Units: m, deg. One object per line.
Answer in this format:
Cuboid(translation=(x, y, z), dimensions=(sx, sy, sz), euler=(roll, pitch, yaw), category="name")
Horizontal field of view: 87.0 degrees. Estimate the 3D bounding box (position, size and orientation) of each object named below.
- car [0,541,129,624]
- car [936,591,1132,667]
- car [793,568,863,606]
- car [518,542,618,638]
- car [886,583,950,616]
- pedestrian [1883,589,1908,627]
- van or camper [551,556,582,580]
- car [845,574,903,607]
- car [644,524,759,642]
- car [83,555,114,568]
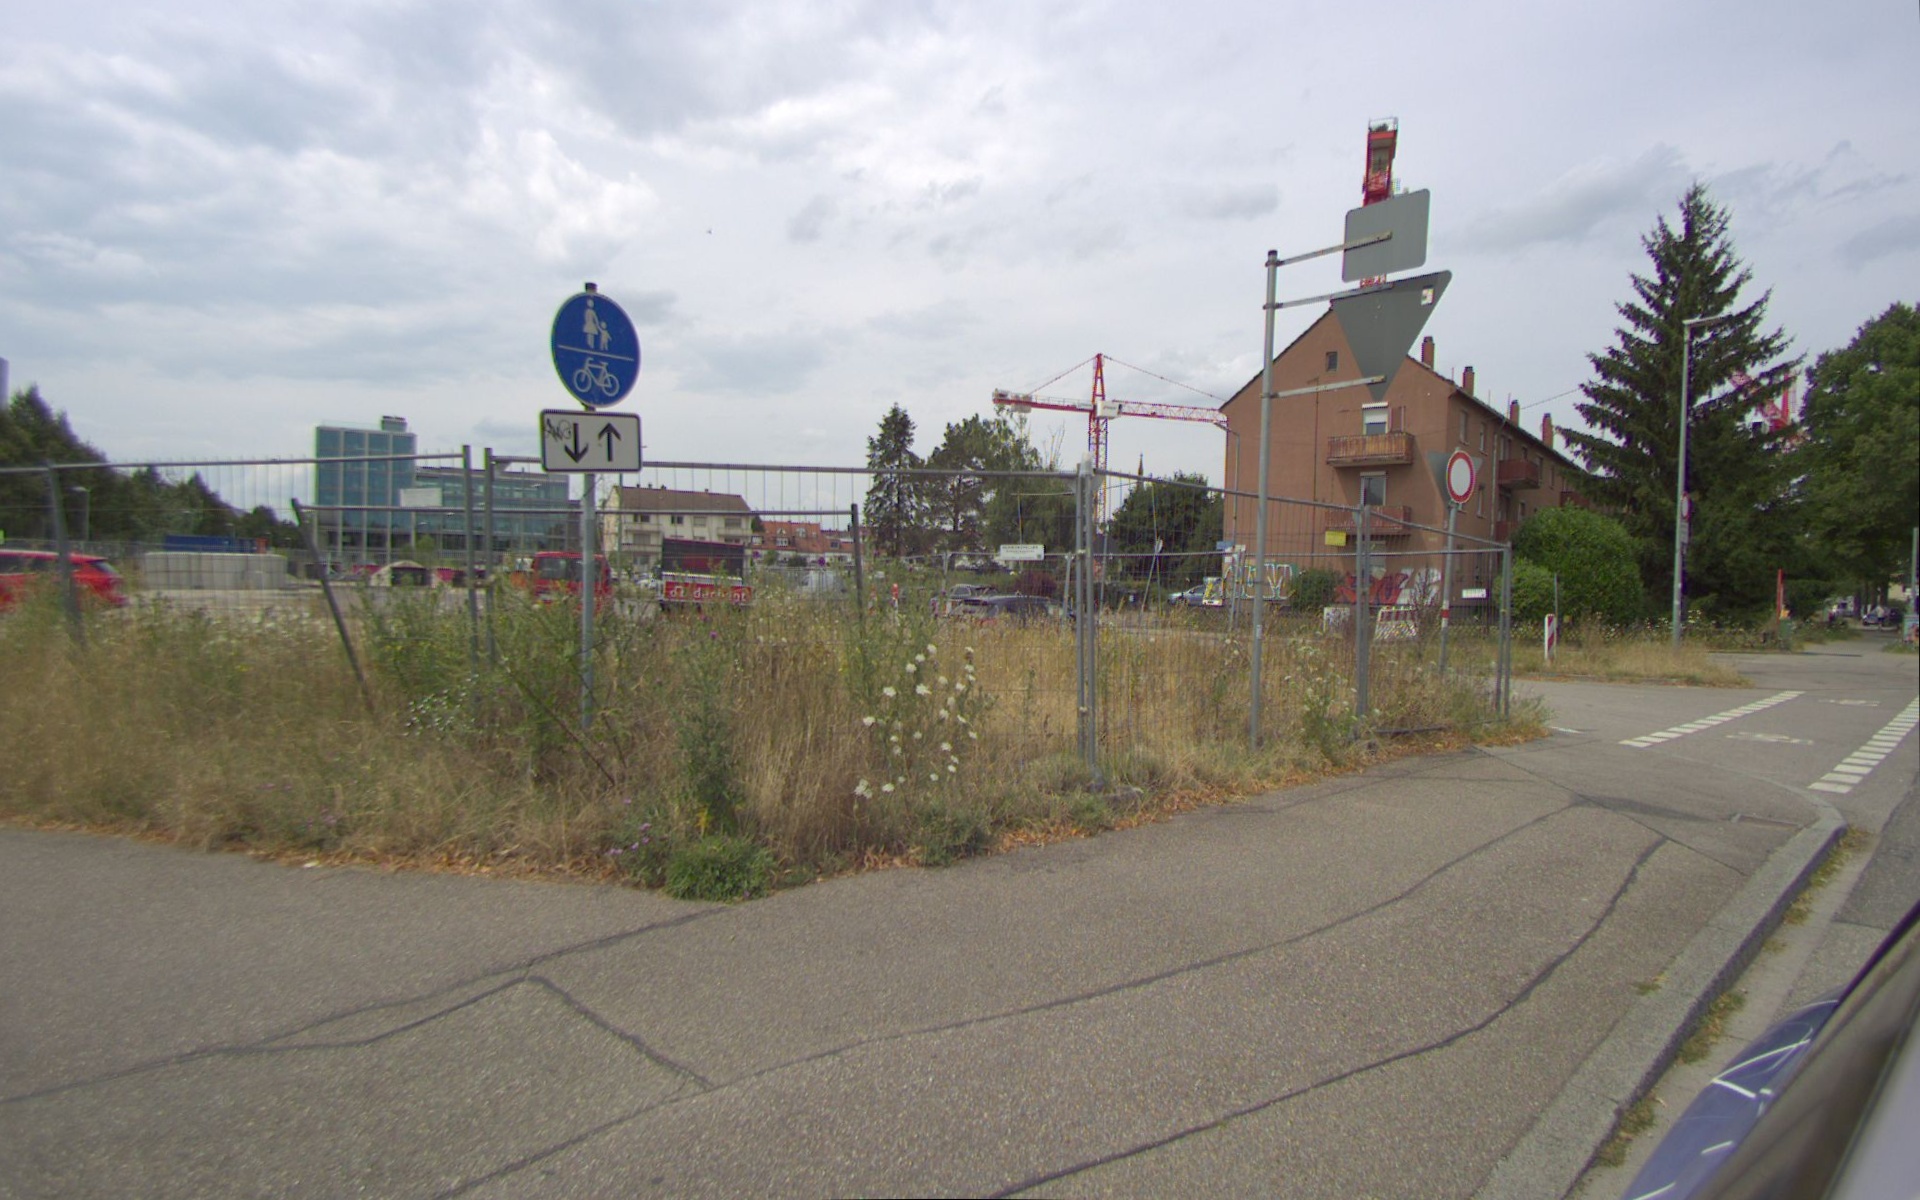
Cuboid(translation=(-19.947, -0.370, 20.212), dimensions=(5.043, 1.624, 1.789), euler=(1, 1, -37), category="car")
Cuboid(translation=(1.680, 0.592, 22.394), dimensions=(4.179, 1.492, 1.767), euler=(1, 1, -37), category="car")
Cuboid(translation=(-8.145, -0.828, 62.089), dimensions=(2.107, 2.163, 4.909), euler=(1, 1, -36), category="car")
Cuboid(translation=(-9.156, -0.261, 23.954), dimensions=(1.896, 1.934, 4.999), euler=(4, 0, -19), category="car")
Cuboid(translation=(-2.253, -0.042, 53.053), dimensions=(1.765, 1.622, 4.020), euler=(1, 1, -28), category="car")
Cuboid(translation=(51.848, 0.452, 56.104), dimensions=(0.849, 2.039, 0.723), euler=(2, 0, 32), category="pedestrian")
Cuboid(translation=(-46.390, -3.801, 119.195), dimensions=(2.307, 2.721, 5.247), euler=(1, 1, -34), category="van or camper")
Cuboid(translation=(-4.922, -0.542, 57.405), dimensions=(1.820, 1.771, 4.019), euler=(1, 1, -29), category="car")
Cuboid(translation=(-6.421, -0.430, 24.516), dimensions=(2.269, 2.442, 6.557), euler=(1, 1, -18), category="car")
Cuboid(translation=(-98.893, -4.408, 116.214), dimensions=(1.960, 1.391, 4.005), euler=(1, 1, -30), category="car")
